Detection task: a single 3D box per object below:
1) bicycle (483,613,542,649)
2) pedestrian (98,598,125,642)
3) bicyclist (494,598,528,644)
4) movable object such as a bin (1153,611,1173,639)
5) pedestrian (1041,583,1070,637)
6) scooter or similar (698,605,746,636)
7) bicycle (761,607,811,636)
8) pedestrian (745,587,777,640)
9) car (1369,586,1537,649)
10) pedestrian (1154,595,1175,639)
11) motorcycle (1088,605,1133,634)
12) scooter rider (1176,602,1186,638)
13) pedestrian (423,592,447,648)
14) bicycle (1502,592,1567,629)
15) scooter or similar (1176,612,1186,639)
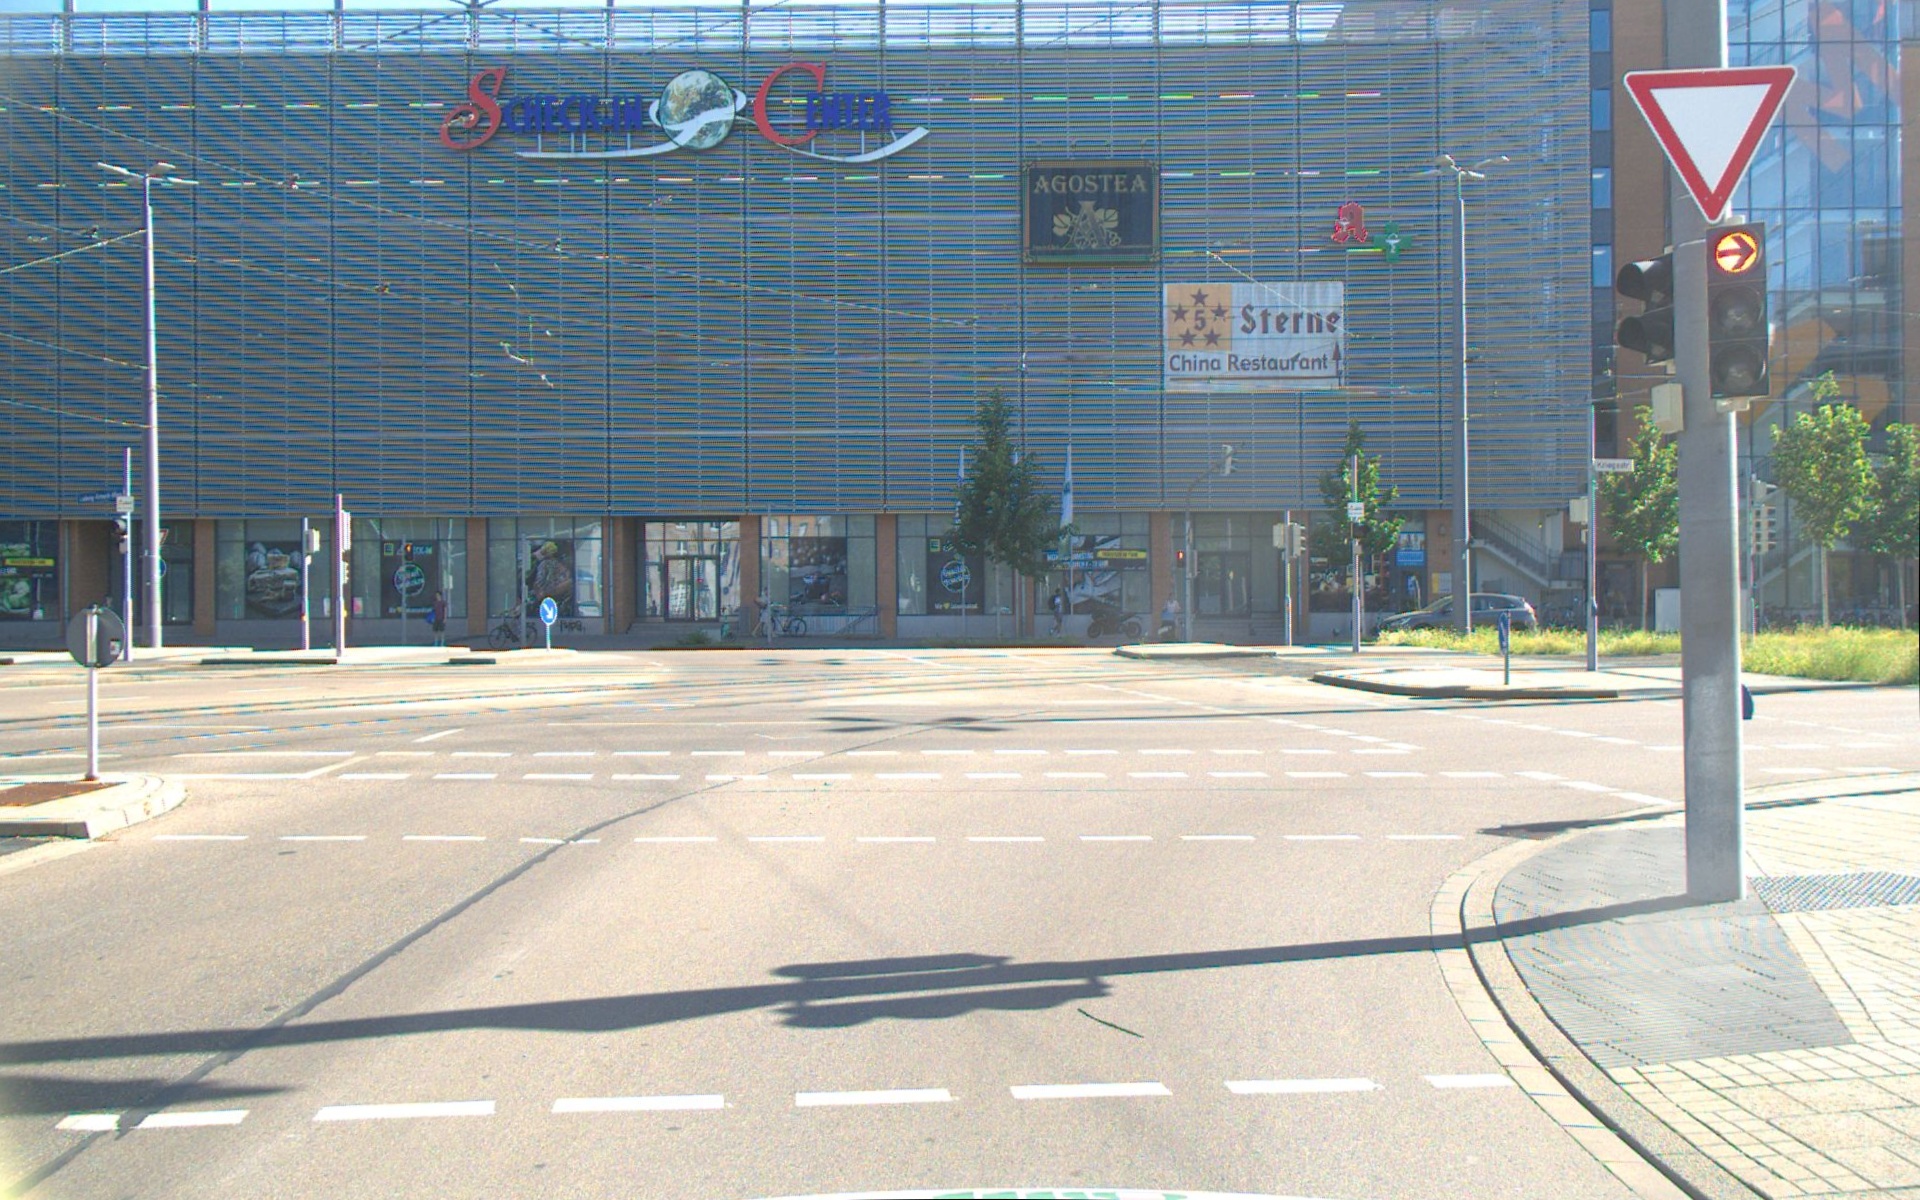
[{"bbox_3d":[-14.764,1.007,54.619,0.559,1.105,1.852,0,2,42],"label":"bicycle"},{"bbox_3d":[-31.714,0.758,61.832,0.646,1.629,0.594,1,-1,18],"label":"pedestrian"},{"bbox_3d":[-14.796,0.691,54.543,0.663,1.452,0.844,0,2,42],"label":"bicyclist"},{"bbox_3d":[6.744,0.830,54.896,0.599,0.920,0.970,1,0,10],"label":"movable object such as a bin"},{"bbox_3d":[3.421,0.349,59.163,0.991,1.860,1.036,-2,0,3],"label":"pedestrian"},{"bbox_3d":[-8.743,0.747,60.779,1.759,1.085,0.611,0,1,-9],"label":"scooter or similar"},{"bbox_3d":[-6.362,0.778,60.432,1.783,1.006,0.556,0,1,-11],"label":"bicycle"},{"bbox_3d":[-7.163,0.487,59.485,0.930,1.860,0.846,-2,0,5],"label":"pedestrian"},{"bbox_3d":[13.673,0.495,46.045,4.063,1.495,1.840,3,-1,-2],"label":"car"},{"bbox_3d":[6.860,0.576,55.363,0.641,1.438,0.850,1,0,10],"label":"pedestrian"},{"bbox_3d":[5.532,0.726,60.707,1.605,1.022,0.447,1,0,6],"label":"motorcycle"},{"bbox_3d":[7.363,0.666,55.129,0.282,1.221,0.386,1,-1,10],"label":"scooter rider"},{"bbox_3d":[-17.335,0.664,54.668,0.683,1.829,0.727,-2,0,-17],"label":"pedestrian"},{"bbox_3d":[21.292,0.388,61.350,2.209,1.318,0.605,1,-1,-2],"label":"bicycle"},{"bbox_3d":[7.369,0.832,55.189,0.288,0.888,1.004,1,0,10],"label":"scooter or similar"}]
